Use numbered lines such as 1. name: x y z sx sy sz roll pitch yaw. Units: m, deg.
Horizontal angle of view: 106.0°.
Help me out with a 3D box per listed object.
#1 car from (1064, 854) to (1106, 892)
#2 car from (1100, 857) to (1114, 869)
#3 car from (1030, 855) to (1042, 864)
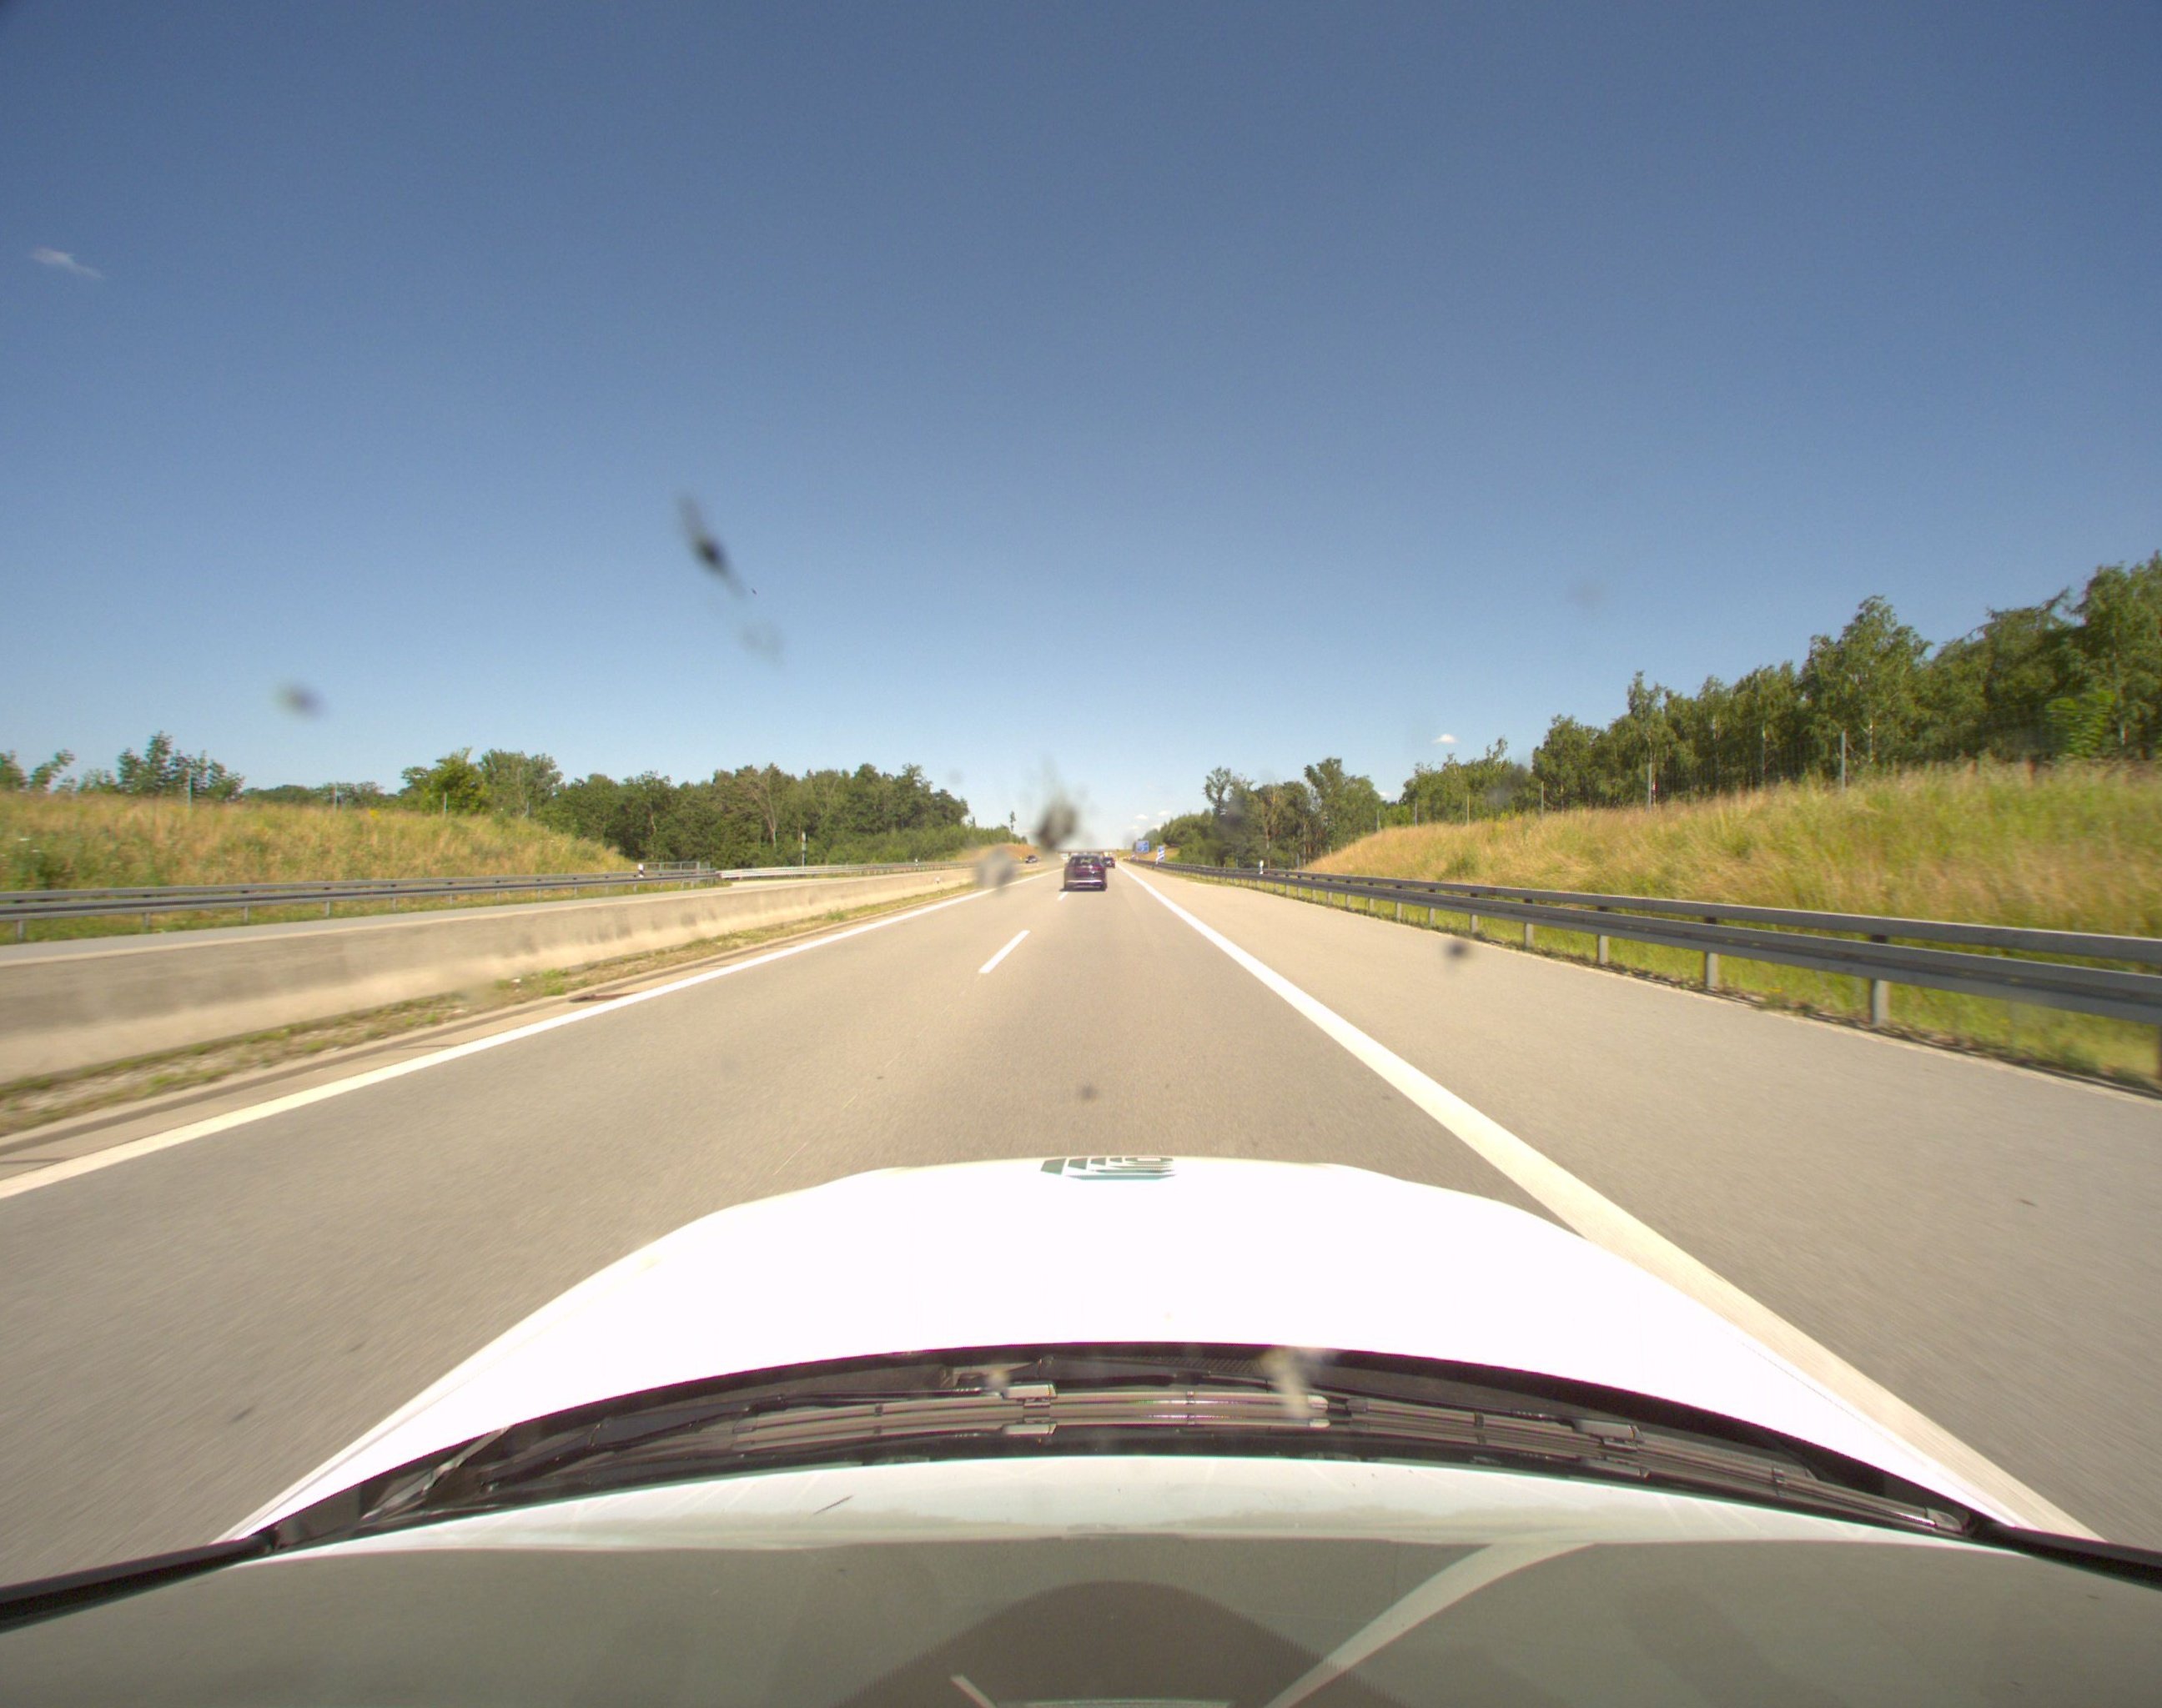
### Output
1. car: 0.252 0.810 36.728 1.715 1.587 5.225 0 0 2
2. car: 3.242 1.122 100.862 1.783 1.374 3.919 0 0 2
3. car: -8.642 0.985 156.132 1.894 1.691 4.271 0 0 2
